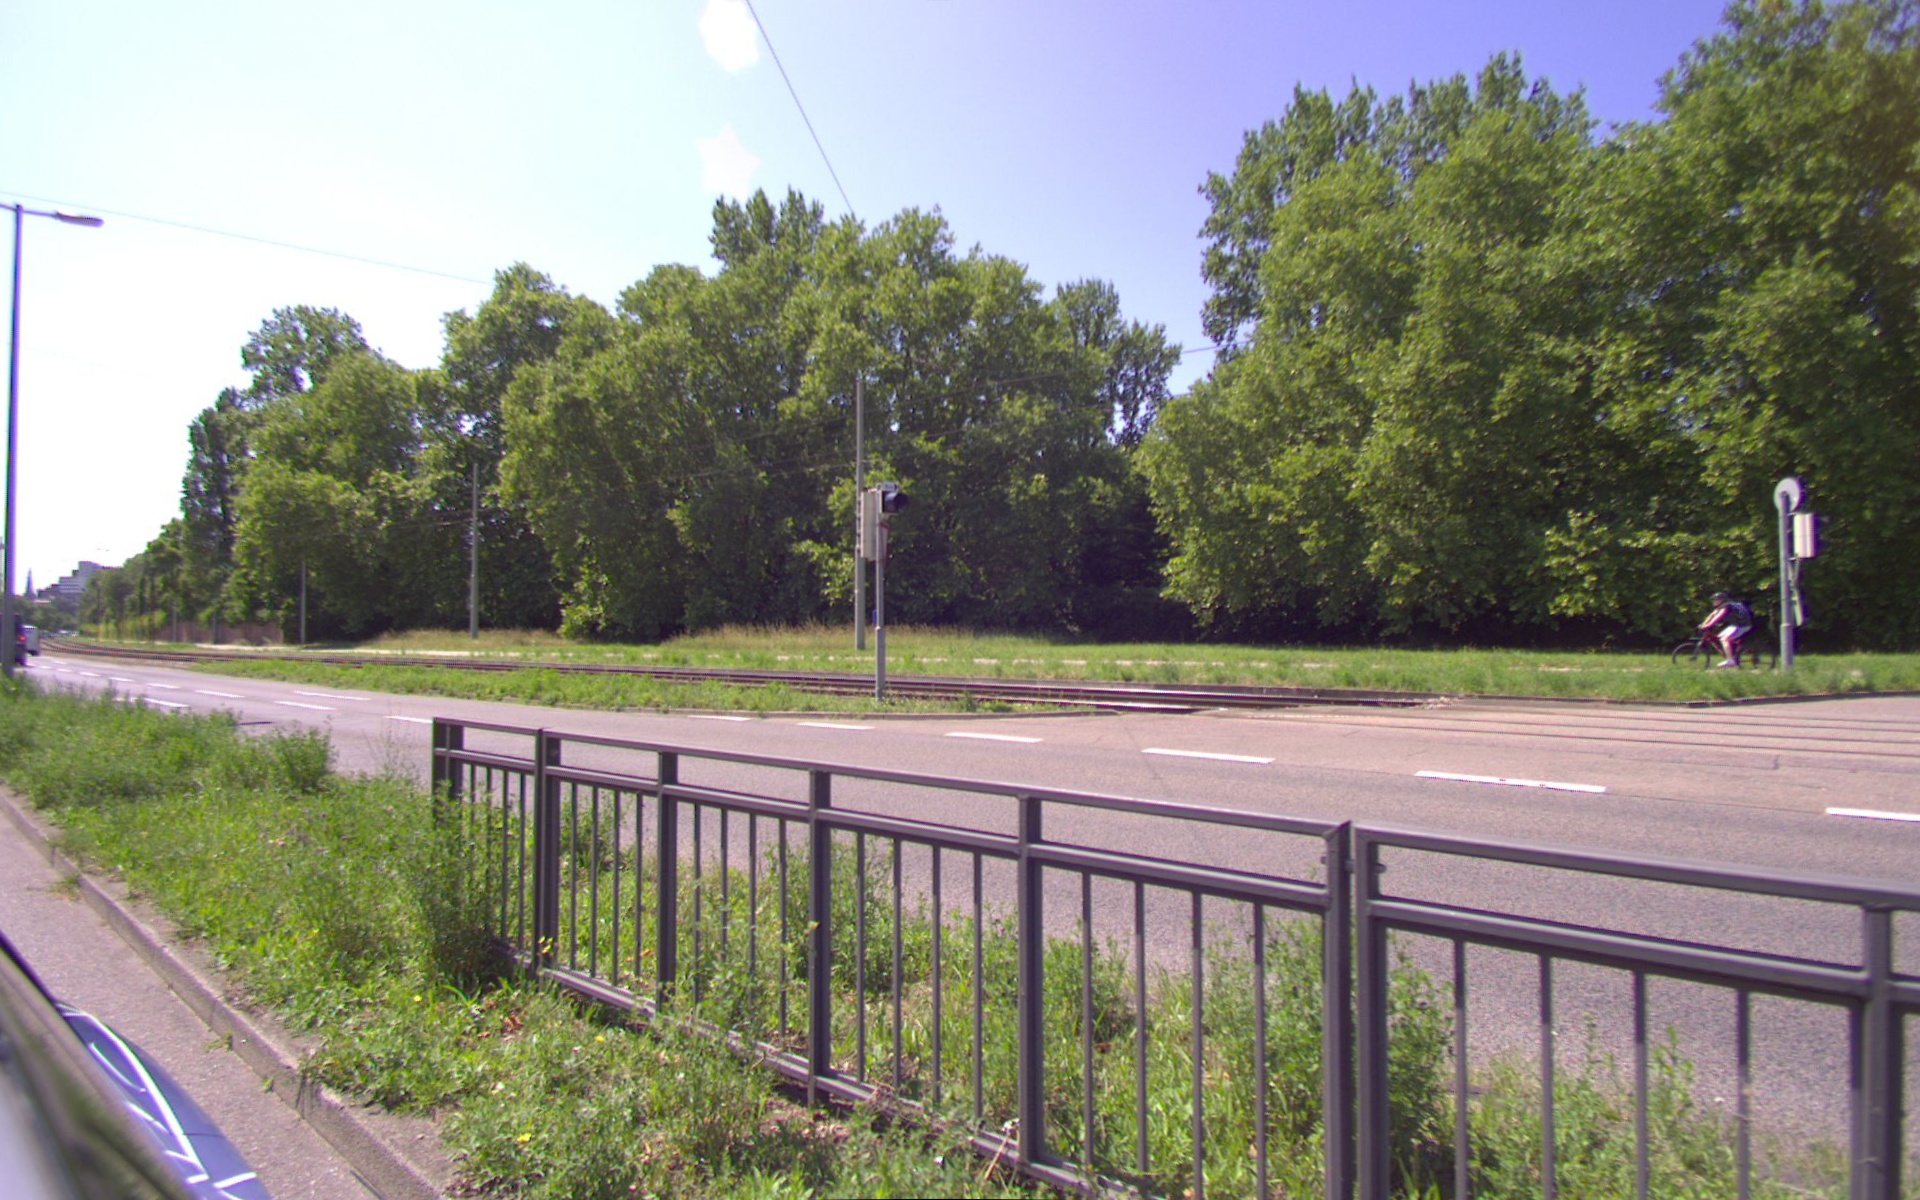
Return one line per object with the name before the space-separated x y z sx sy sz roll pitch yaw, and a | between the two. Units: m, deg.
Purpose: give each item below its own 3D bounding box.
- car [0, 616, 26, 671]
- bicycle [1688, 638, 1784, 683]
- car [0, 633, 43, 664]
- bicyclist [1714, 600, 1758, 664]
car | -43.543 1.937 45.202 5.369 2.384 1.973 -2 -3 40
bicycle | 16.516 1.274 21.573 1.561 0.908 0.504 -2 -1 34
car | -63.208 3.258 67.796 5.026 2.029 1.973 -2 -4 40
bicyclist | 16.511 0.673 21.550 0.678 1.346 0.504 -2 -2 33
